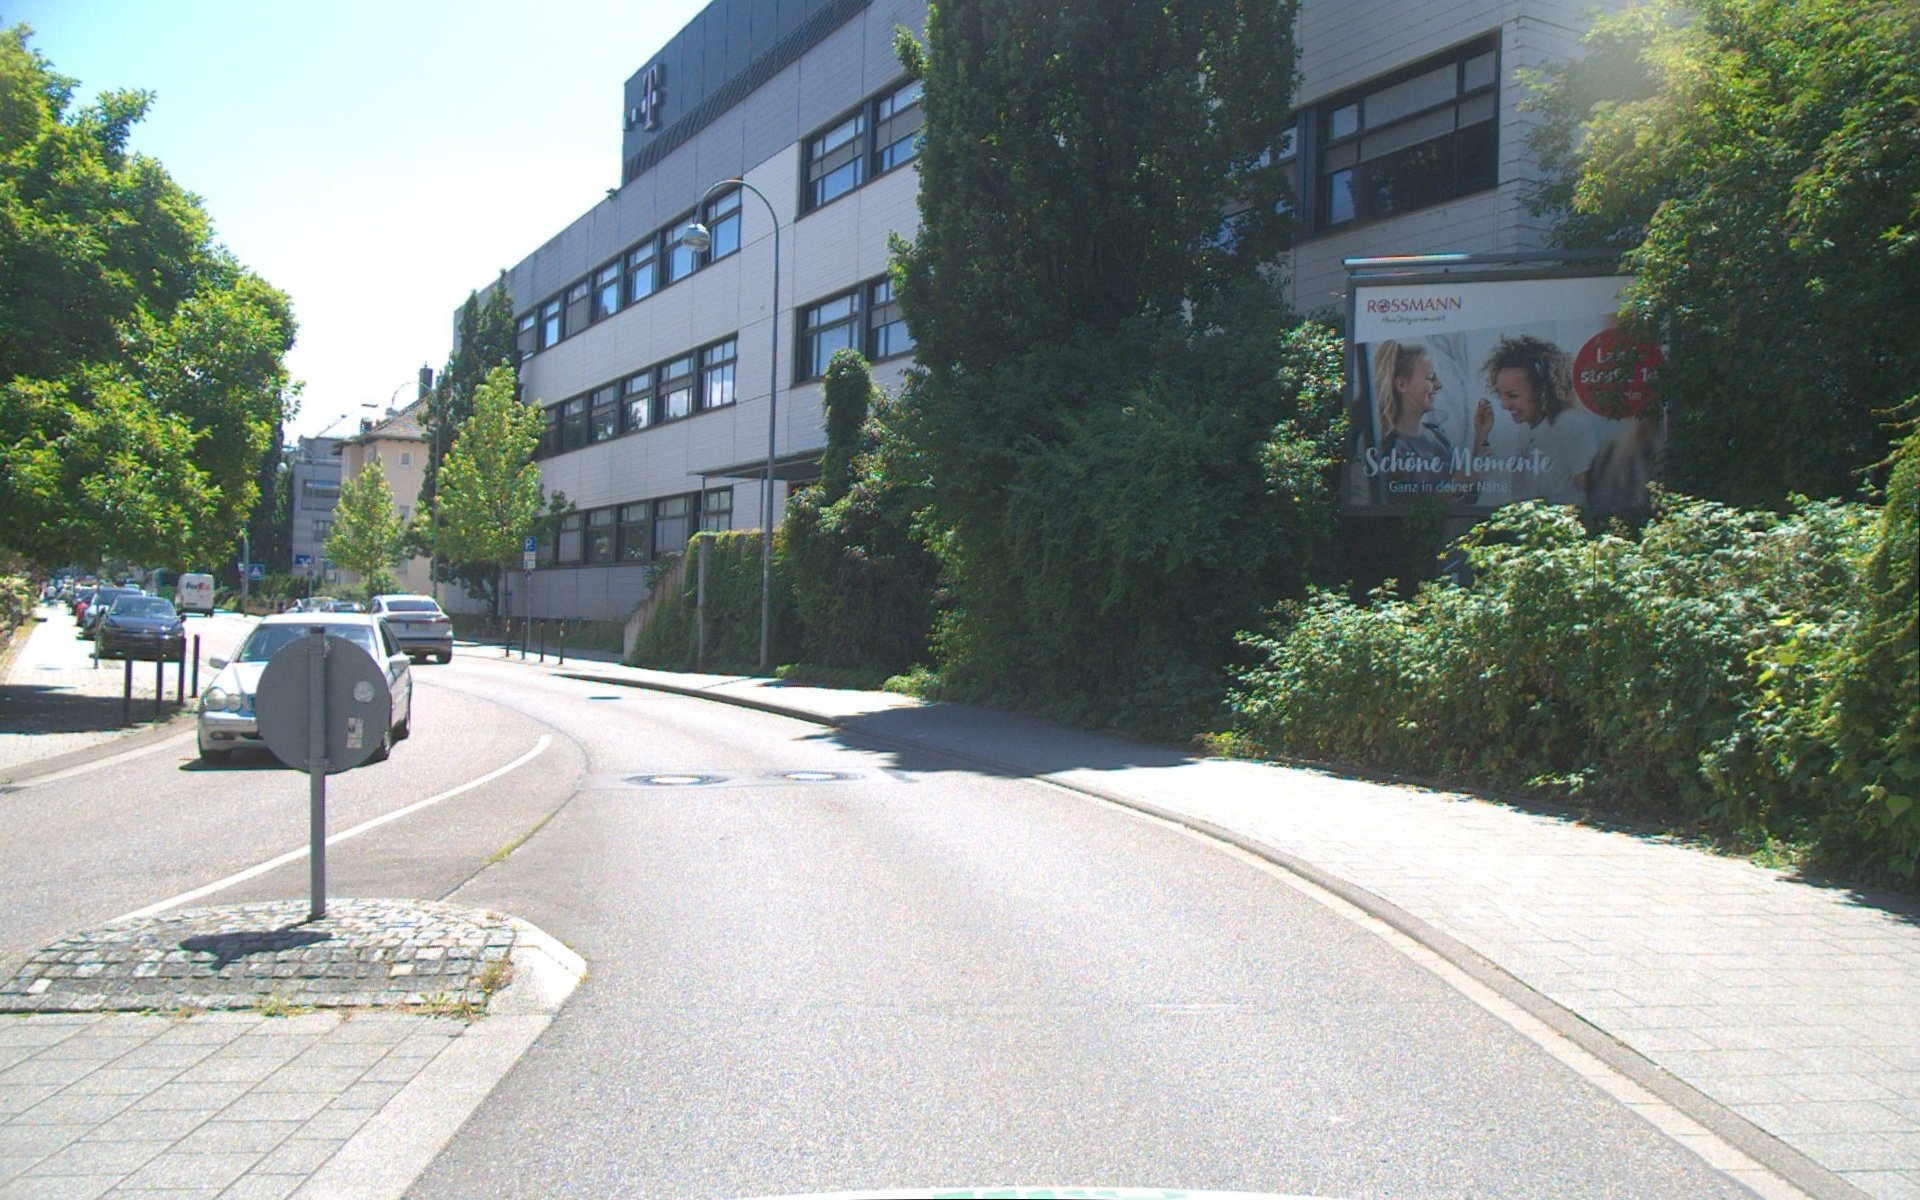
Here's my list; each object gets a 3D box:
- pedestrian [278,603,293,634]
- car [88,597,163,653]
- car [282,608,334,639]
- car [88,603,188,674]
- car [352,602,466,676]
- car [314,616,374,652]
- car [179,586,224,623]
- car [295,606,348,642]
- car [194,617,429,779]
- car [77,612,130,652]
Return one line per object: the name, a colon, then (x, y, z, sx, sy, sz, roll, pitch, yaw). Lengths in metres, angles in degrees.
pedestrian: (-39.219, 1.076, 96.183, 0.631, 1.789, 0.610, 2, -1, -34)
car: (-26.534, 0.780, 52.526, 1.904, 1.600, 4.615, 5, -2, -28)
car: (-30.693, 1.083, 77.807, 1.707, 1.407, 4.358, 0, 0, -29)
car: (-19.631, 0.884, 39.391, 1.904, 1.462, 4.615, 5, -2, -28)
car: (-13.882, 0.922, 41.515, 1.915, 1.642, 4.429, -4, 2, -28)
car: (-25.527, 1.387, 68.472, 1.841, 1.397, 3.963, 2, -1, -28)
car: (-47.225, 0.261, 102.909, 2.048, 2.235, 5.085, 0, 0, -30)
car: (-28.466, 1.035, 73.659, 1.641, 1.514, 4.302, 0, 0, -29)
car: (-6.684, 0.925, 17.458, 1.728, 1.460, 4.288, 0, 0, -14)
car: (-34.206, 1.267, 65.998, 1.632, 1.444, 3.865, 5, -2, -30)
